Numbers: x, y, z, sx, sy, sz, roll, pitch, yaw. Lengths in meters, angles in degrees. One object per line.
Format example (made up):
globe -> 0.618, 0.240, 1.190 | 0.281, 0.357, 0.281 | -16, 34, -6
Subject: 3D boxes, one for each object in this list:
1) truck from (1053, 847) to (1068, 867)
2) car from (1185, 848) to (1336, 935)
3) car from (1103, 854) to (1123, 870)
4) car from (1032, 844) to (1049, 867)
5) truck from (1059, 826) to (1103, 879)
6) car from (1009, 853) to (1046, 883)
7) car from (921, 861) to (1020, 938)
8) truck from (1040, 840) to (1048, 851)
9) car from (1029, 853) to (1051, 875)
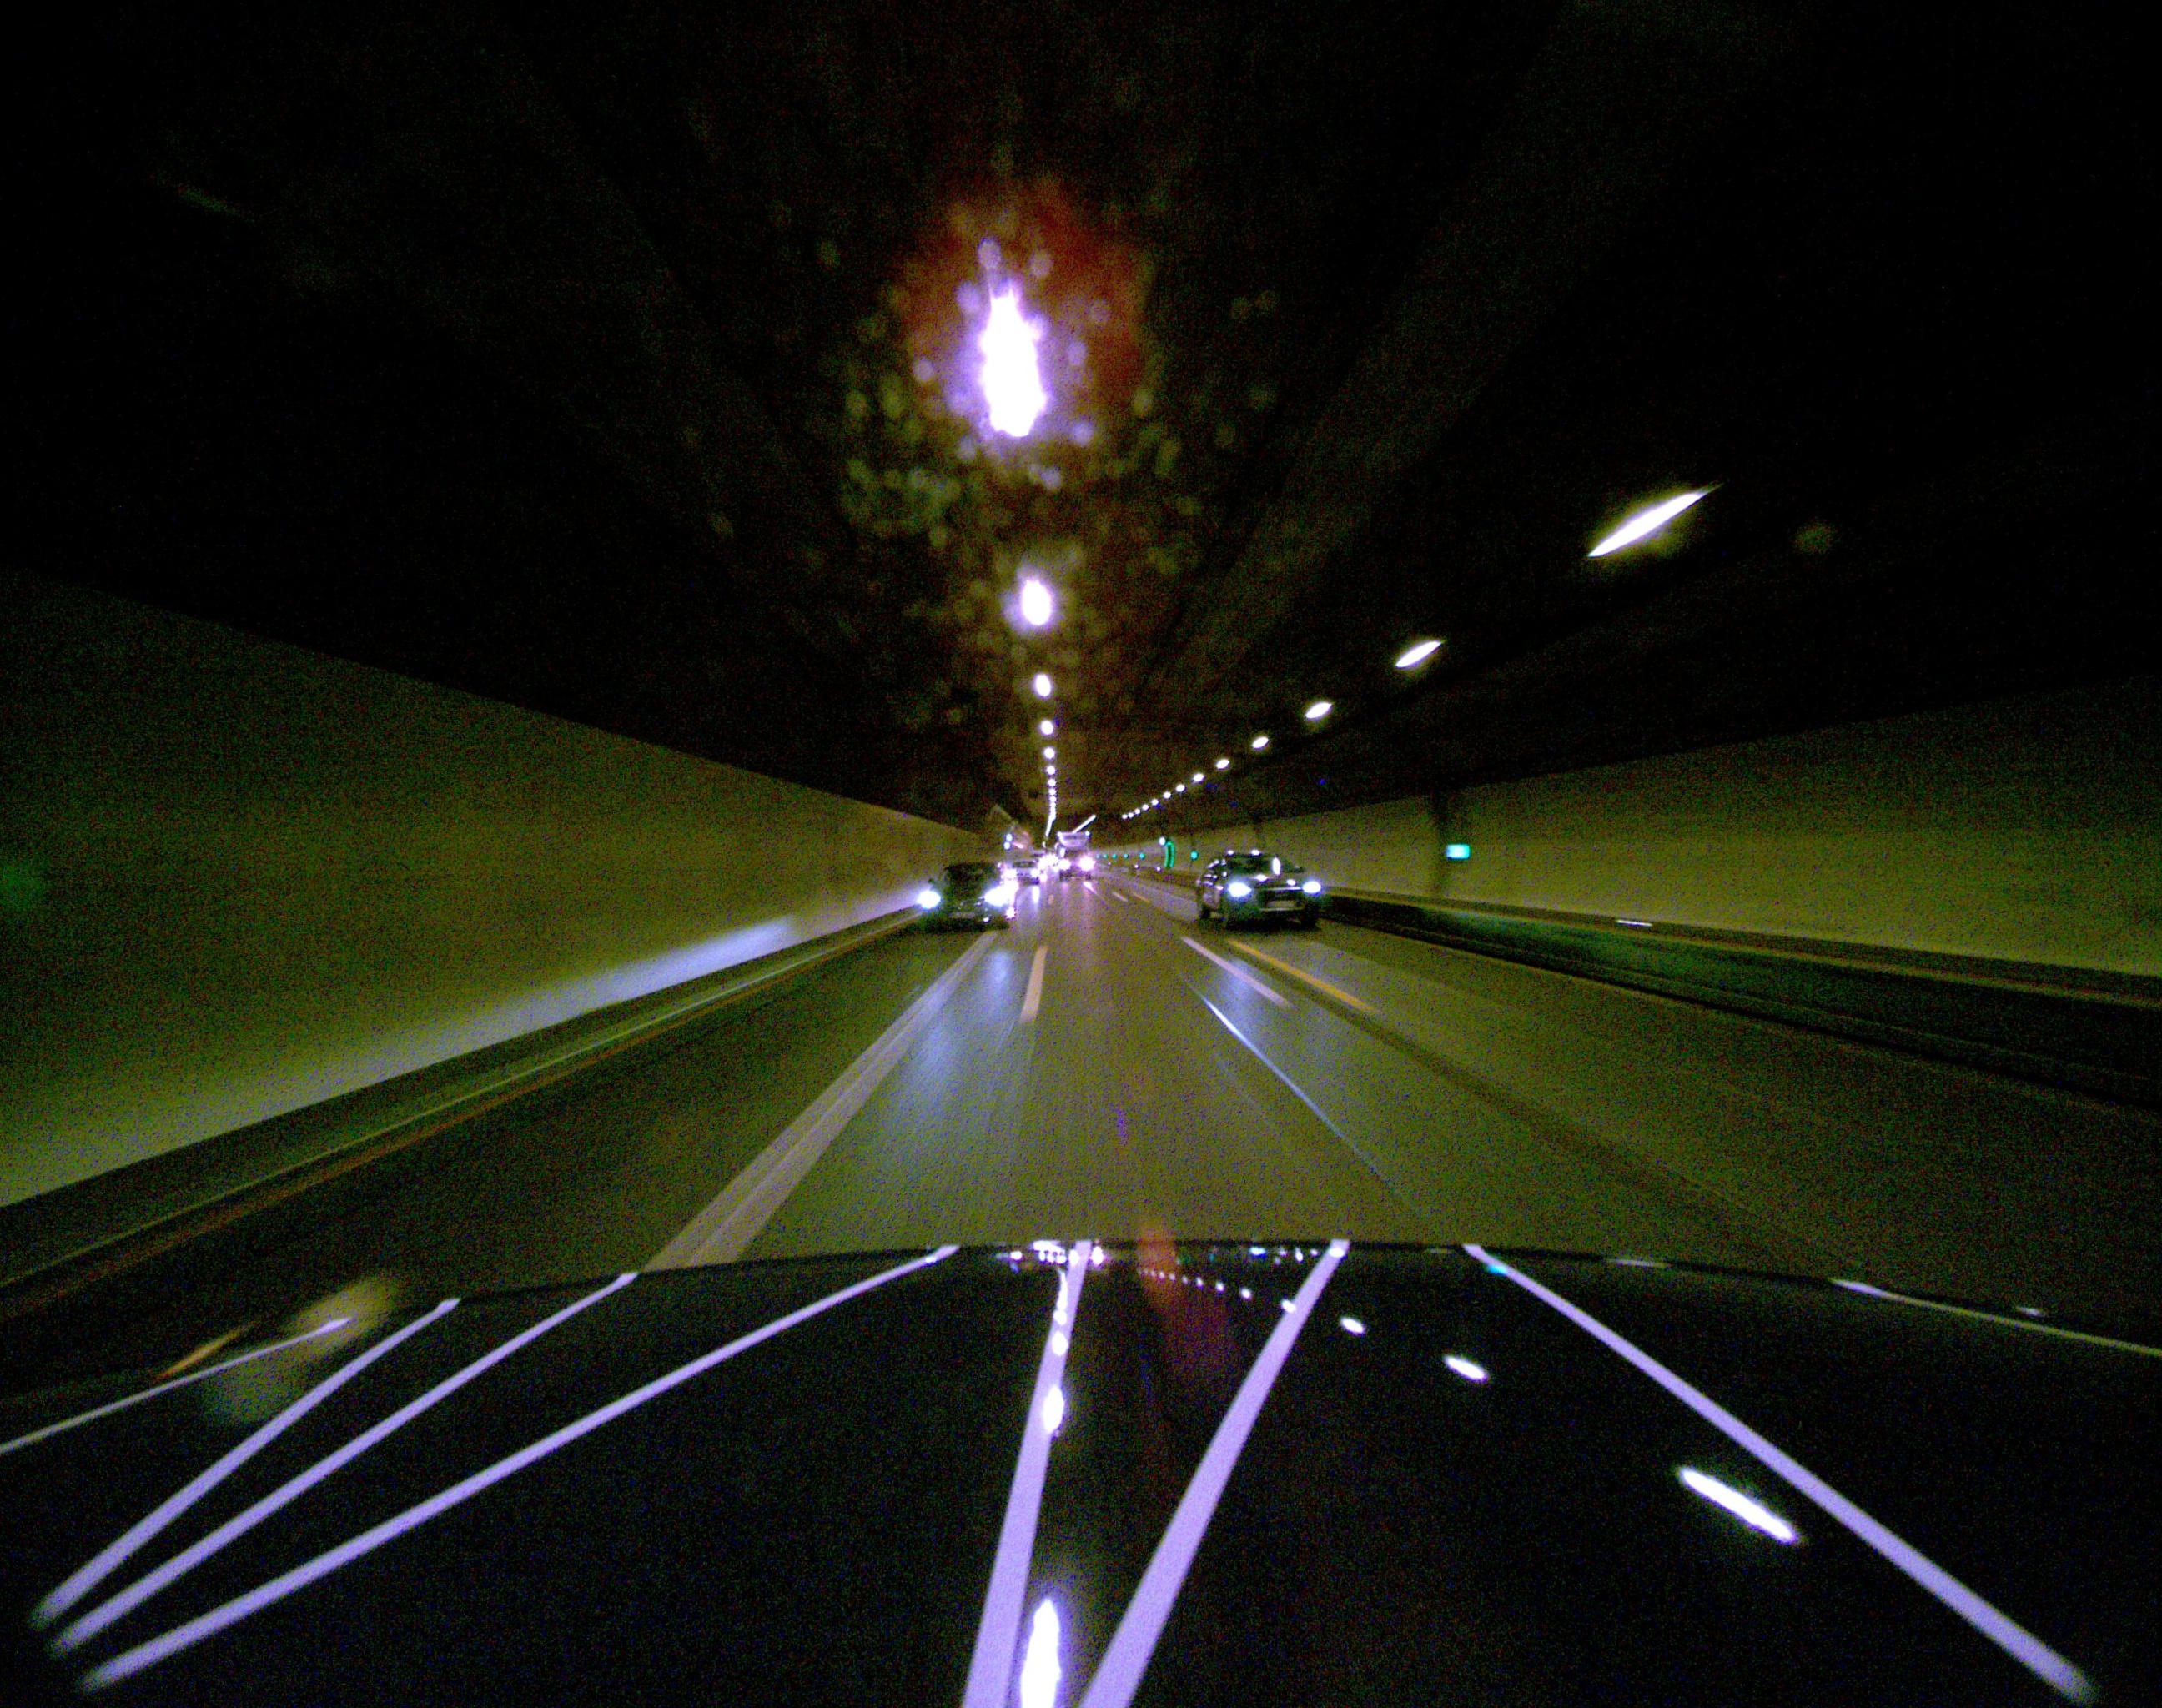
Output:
truck -> -3.309, 0.445, 122.481 | 2.162, 3.098, 6.029 | -2, 1, 0
car -> 3.677, 0.685, 16.562 | 1.999, 1.531, 4.741 | -2, 1, -2
car -> 3.387, 0.852, 81.455 | 1.998, 1.531, 4.850 | -2, 1, 1
car -> -5.127, 0.184, 97.634 | 1.999, 2.710, 6.272 | -3, 1, -3
truck -> -0.100, -0.093, 52.568 | 2.534, 3.314, 7.713 | -2, 0, -3
car -> -3.125, 0.793, 44.927 | 1.999, 1.531, 4.740 | -3, 1, -3
car -> -2.504, 0.975, 18.209 | 1.826, 1.469, 4.520 | -3, 0, -3
truck -> -12.839, -2.814, 261.502 | 2.208, 3.449, 11.763 | -2, 0, -1
car -> -4.010, 0.926, 74.386 | 1.999, 2.002, 4.852 | -2, 0, -4
